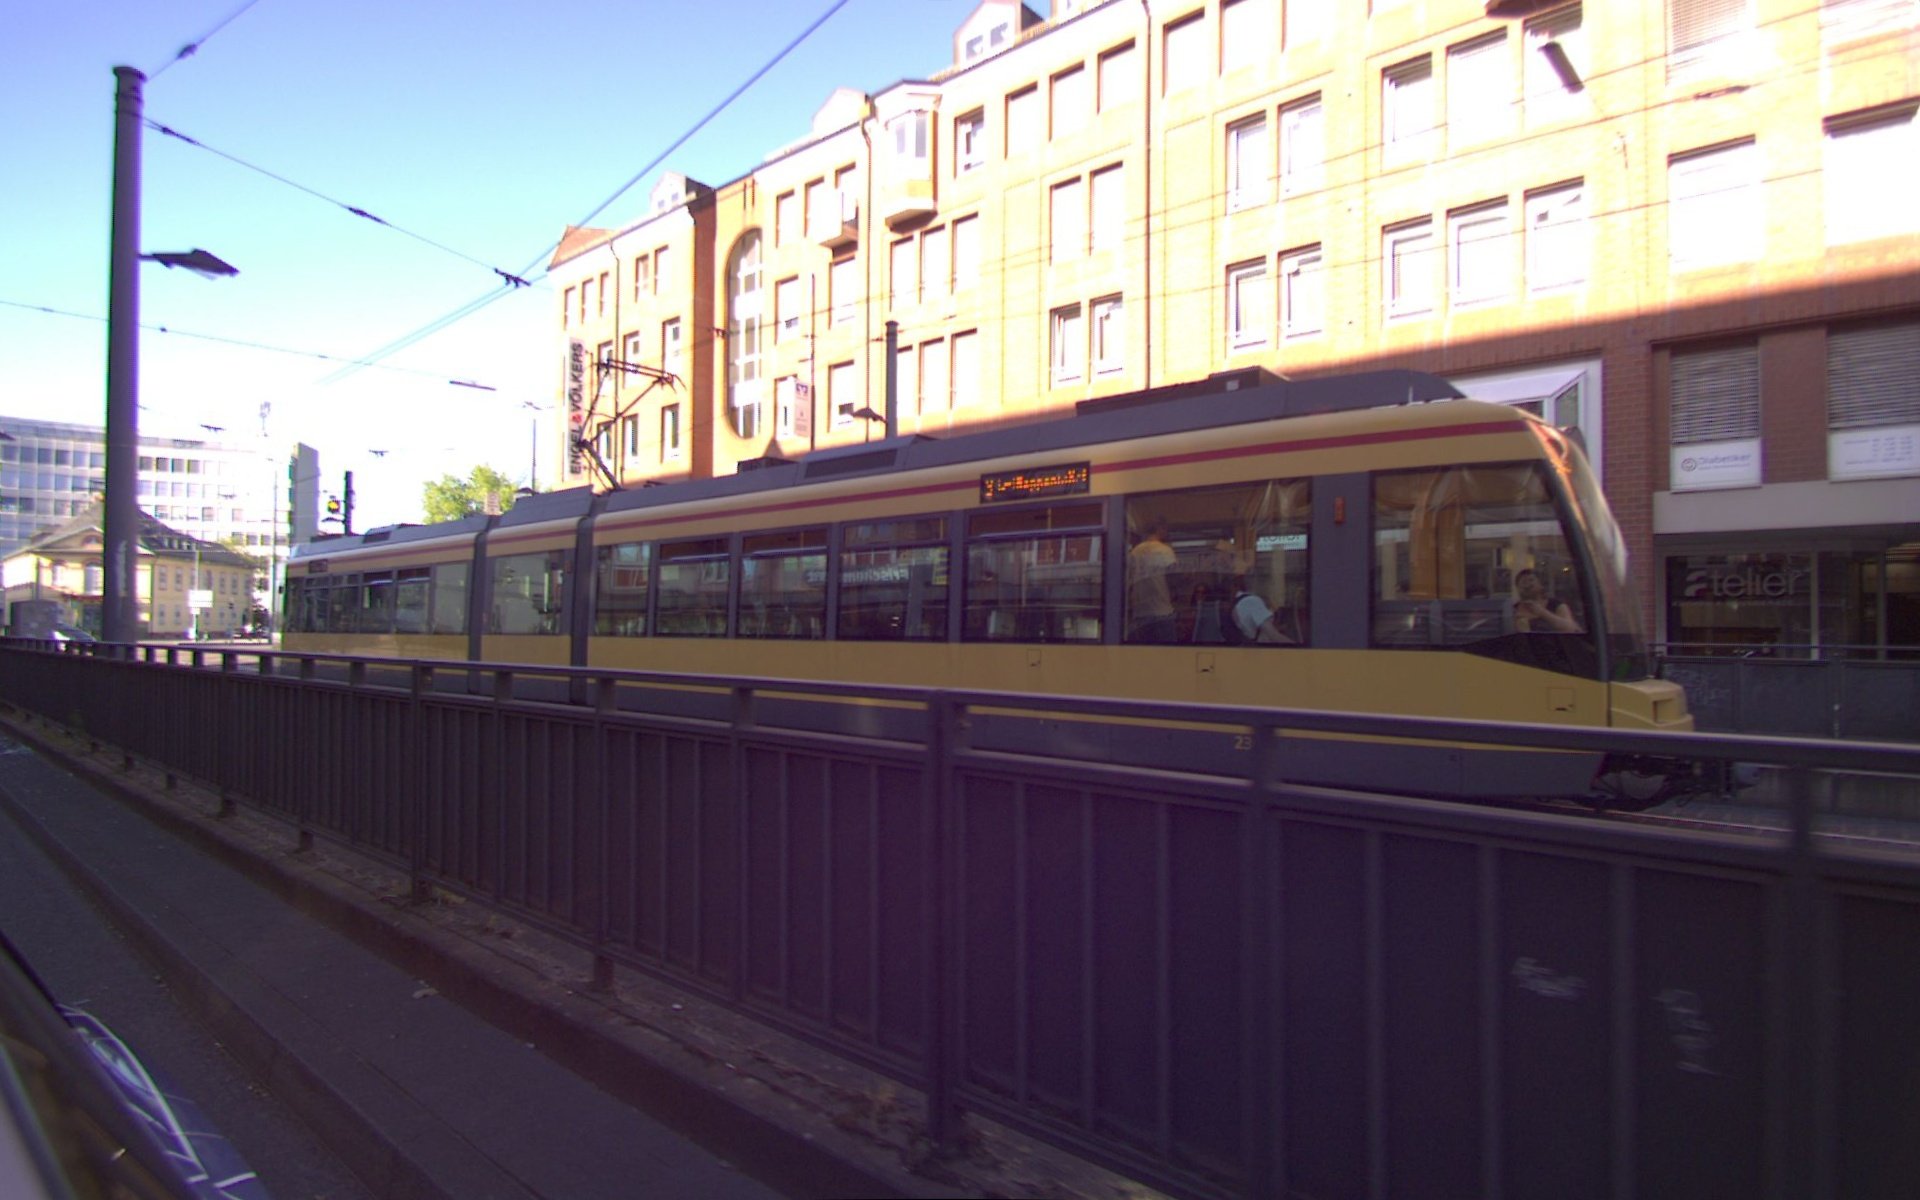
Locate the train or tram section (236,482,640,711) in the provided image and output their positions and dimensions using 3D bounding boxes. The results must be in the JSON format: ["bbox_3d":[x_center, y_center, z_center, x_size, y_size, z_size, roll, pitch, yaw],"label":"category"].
[{"bbox_3d":[-12.039,0.018,21.972,13.938,3.672,2.943,-1,0,42],"label":"train or tram section"}]

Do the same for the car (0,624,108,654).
[{"bbox_3d":[-46.369,1.990,51.666,3.936,1.516,2.004,0,-1,-9],"label":"car"}]

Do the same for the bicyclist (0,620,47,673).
[{"bbox_3d":[-25.155,1.235,27.174,0.899,1.391,0.741,-1,-2,36],"label":"bicyclist"}]

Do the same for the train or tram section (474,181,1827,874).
[{"bbox_3d":[-0.676,-0.202,11.945,16.478,3.672,2.943,-2,-1,42],"label":"train or tram section"}]

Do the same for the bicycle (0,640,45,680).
[{"bbox_3d":[-25.471,1.592,26.947,0.417,1.041,1.573,-1,-2,35],"label":"bicycle"}]
